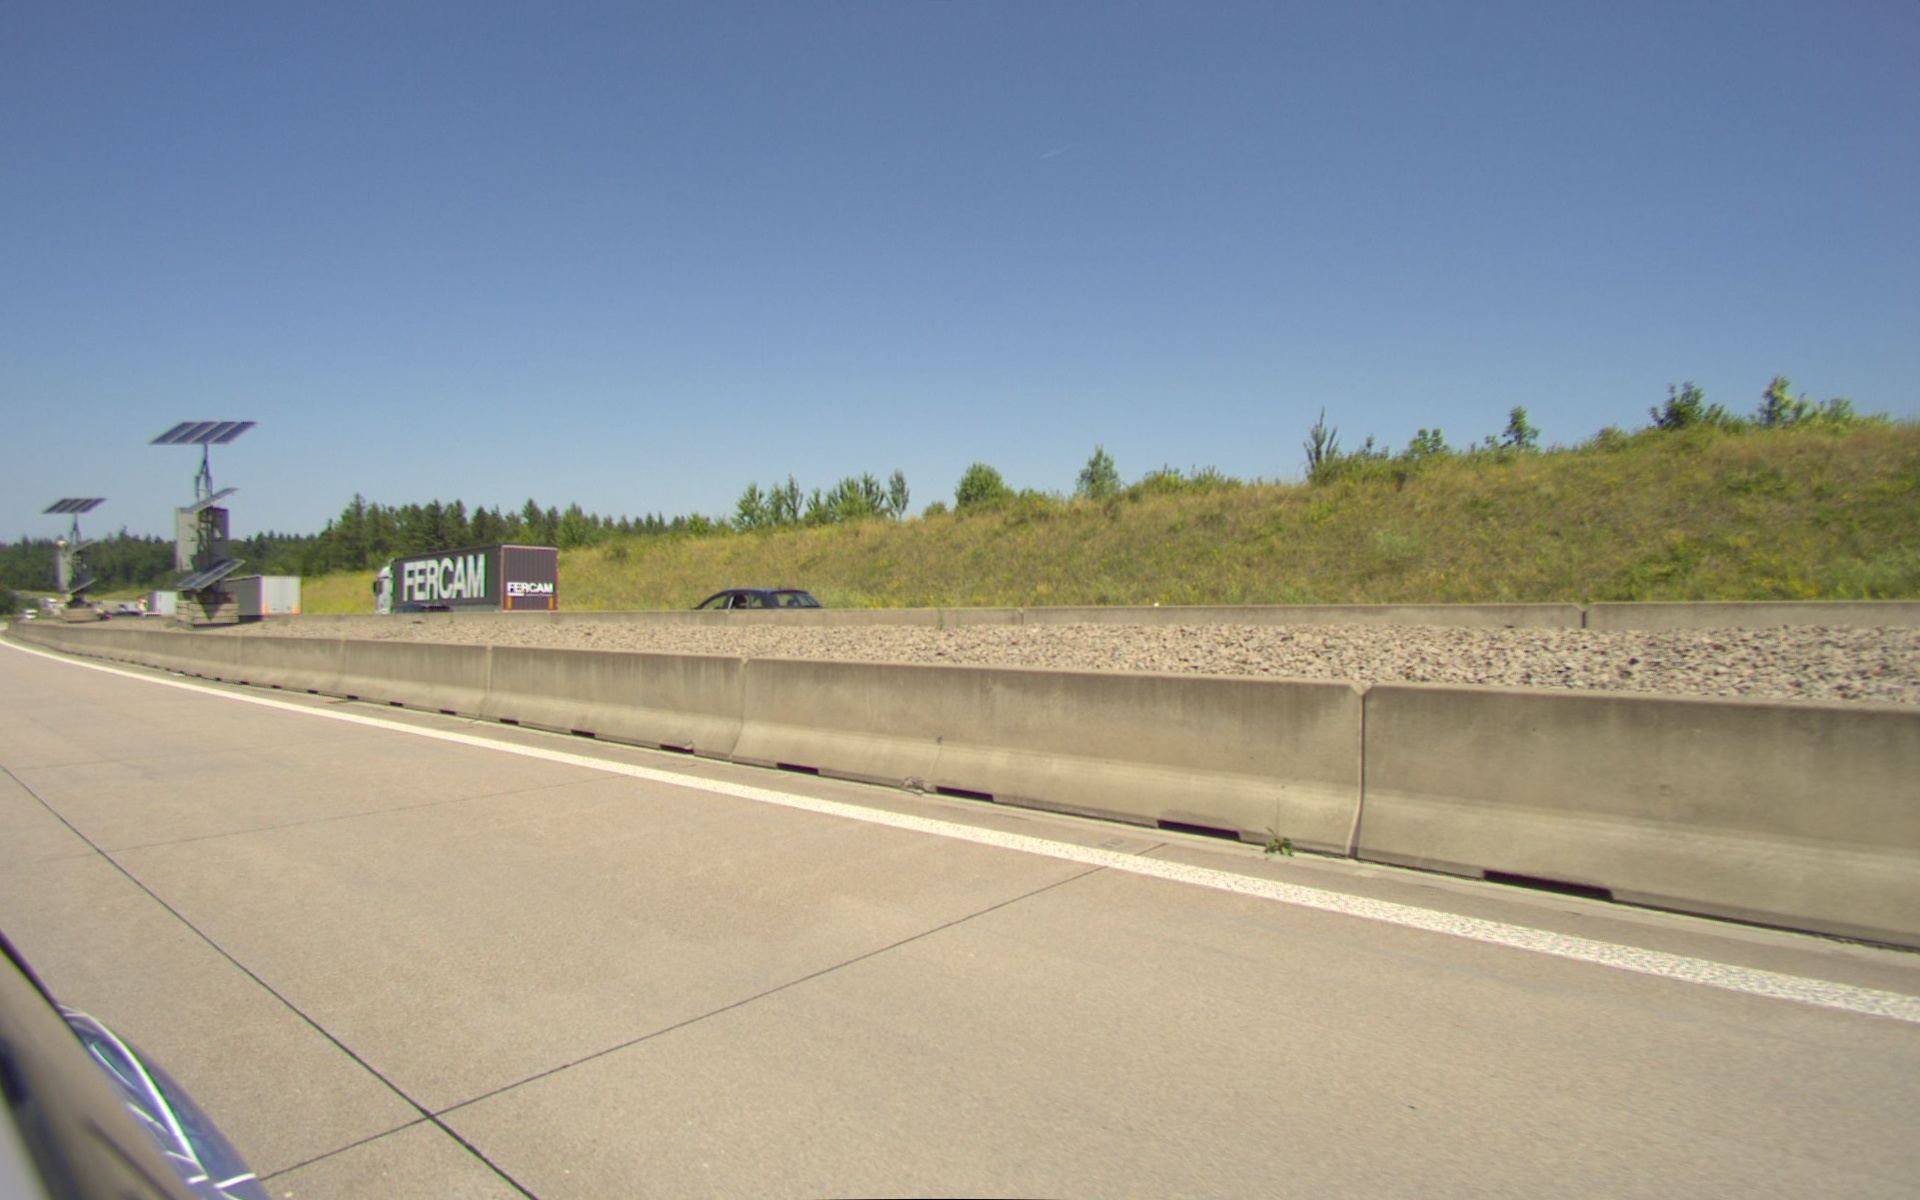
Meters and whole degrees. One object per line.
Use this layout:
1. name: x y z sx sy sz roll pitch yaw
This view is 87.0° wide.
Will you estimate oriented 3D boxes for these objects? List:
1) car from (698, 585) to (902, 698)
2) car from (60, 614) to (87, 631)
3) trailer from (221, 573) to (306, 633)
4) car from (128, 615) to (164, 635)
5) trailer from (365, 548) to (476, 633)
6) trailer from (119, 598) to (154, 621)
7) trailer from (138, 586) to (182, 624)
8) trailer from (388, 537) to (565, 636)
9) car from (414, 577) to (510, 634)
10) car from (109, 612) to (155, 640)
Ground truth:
1. car: -3.269 0.775 20.237 3.999 2.029 1.972 -1 -1 42
2. car: -102.527 2.604 117.069 4.001 1.929 1.971 -1 -1 44
3. trailer: -53.719 0.222 77.757 2.900 4.200 14.398 -3 1 -44
4. car: -73.339 2.234 91.167 4.001 1.697 1.971 -1 -1 44
5. trailer: -28.351 -0.482 53.023 6.890 4.200 2.902 -1 1 43
6. trailer: -125.674 1.472 154.450 2.900 3.239 11.838 -3 1 -45
7. trailer: -94.620 0.561 119.561 2.899 4.200 14.404 -3 1 -43
8. trailer: -23.468 -0.553 48.493 13.189 4.200 2.902 -1 1 43
9. car: -18.978 0.231 38.504 3.999 2.029 1.972 -1 -1 42
10. car: -57.780 1.766 70.614 4.000 1.896 1.971 -1 -1 43
